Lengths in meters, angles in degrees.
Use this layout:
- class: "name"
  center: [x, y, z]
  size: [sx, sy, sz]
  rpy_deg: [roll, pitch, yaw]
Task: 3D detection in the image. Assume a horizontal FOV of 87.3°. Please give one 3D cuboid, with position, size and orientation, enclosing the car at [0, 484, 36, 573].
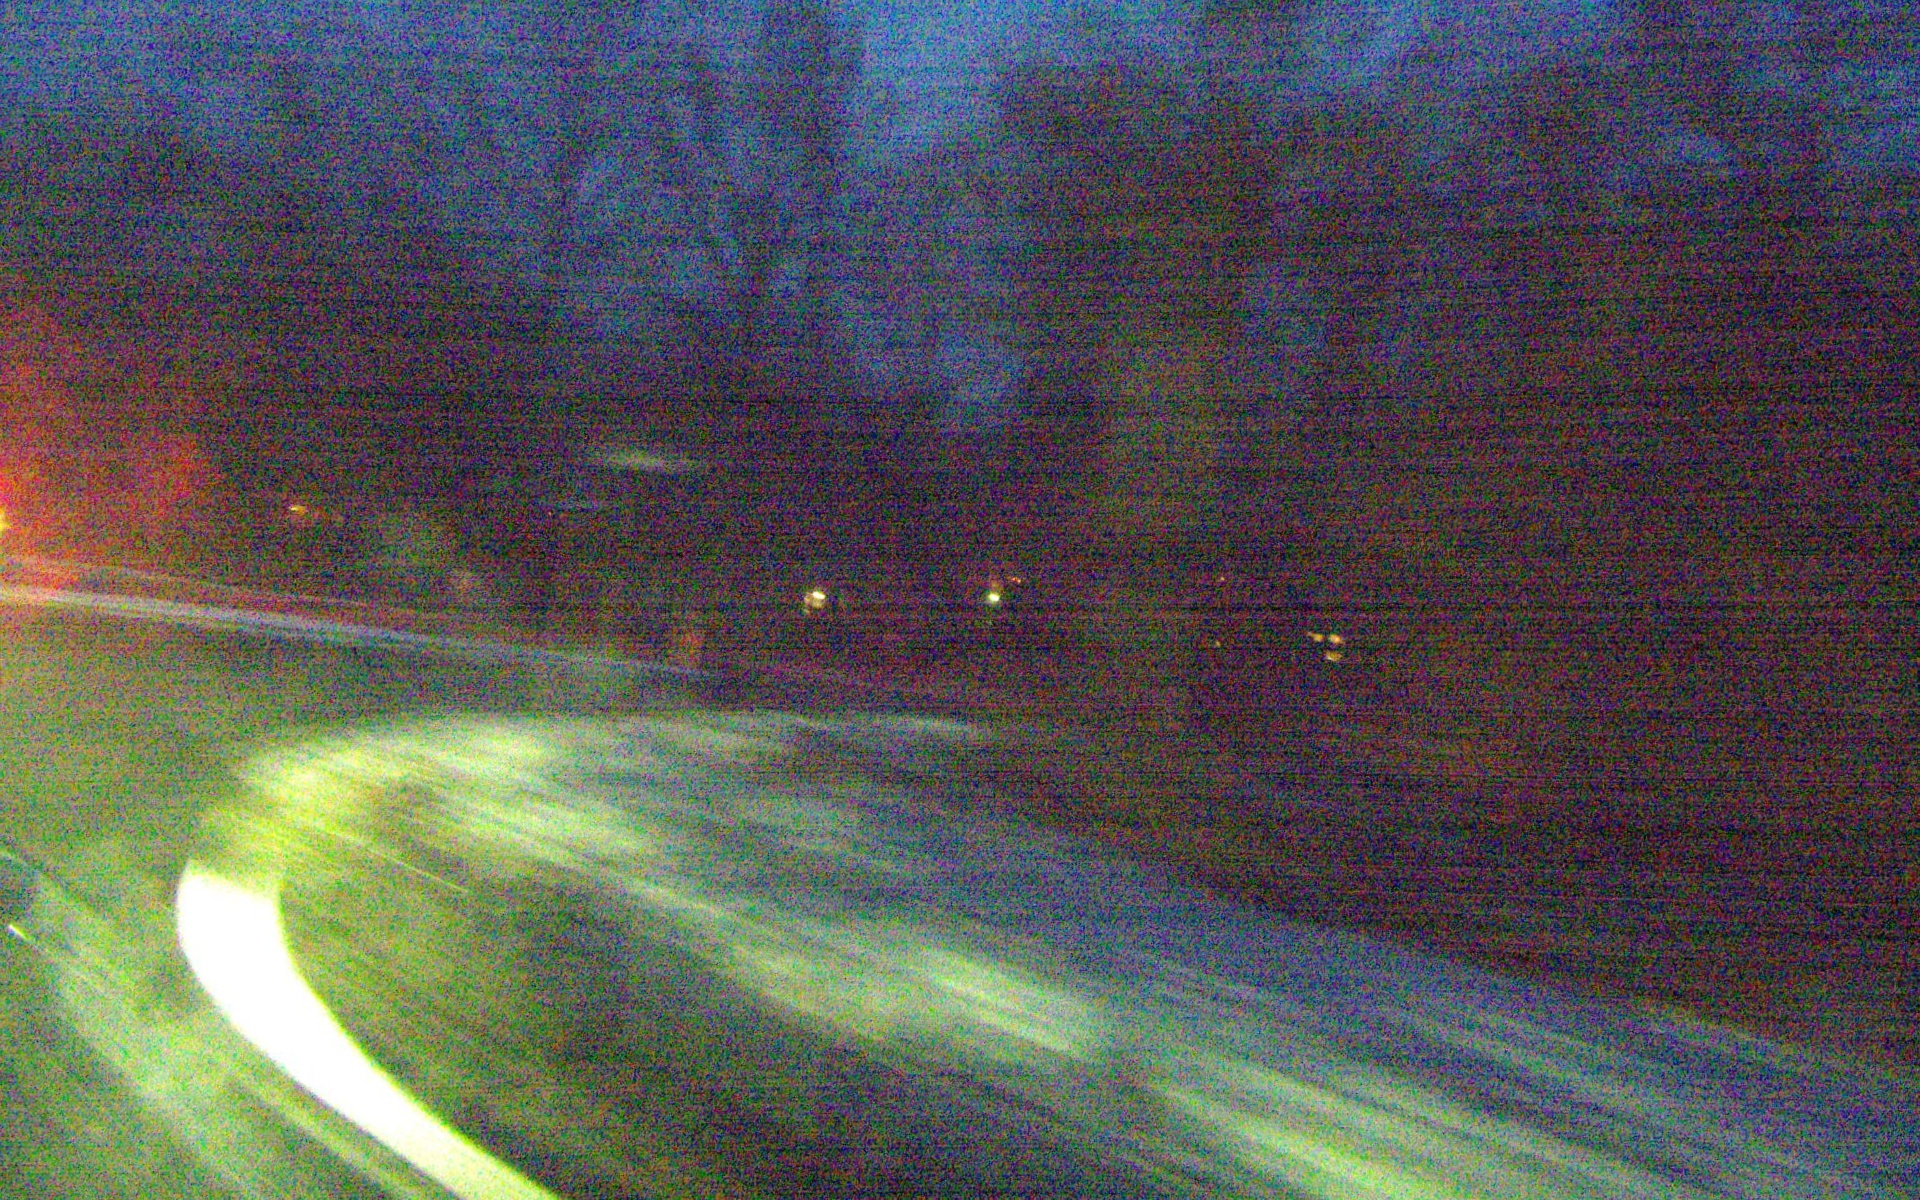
- class: "car"
  center: [-21.073, -1.743, 19.043]
  size: [4.709, 1.710, 1.954]
  rpy_deg: [8, -3, -20]
